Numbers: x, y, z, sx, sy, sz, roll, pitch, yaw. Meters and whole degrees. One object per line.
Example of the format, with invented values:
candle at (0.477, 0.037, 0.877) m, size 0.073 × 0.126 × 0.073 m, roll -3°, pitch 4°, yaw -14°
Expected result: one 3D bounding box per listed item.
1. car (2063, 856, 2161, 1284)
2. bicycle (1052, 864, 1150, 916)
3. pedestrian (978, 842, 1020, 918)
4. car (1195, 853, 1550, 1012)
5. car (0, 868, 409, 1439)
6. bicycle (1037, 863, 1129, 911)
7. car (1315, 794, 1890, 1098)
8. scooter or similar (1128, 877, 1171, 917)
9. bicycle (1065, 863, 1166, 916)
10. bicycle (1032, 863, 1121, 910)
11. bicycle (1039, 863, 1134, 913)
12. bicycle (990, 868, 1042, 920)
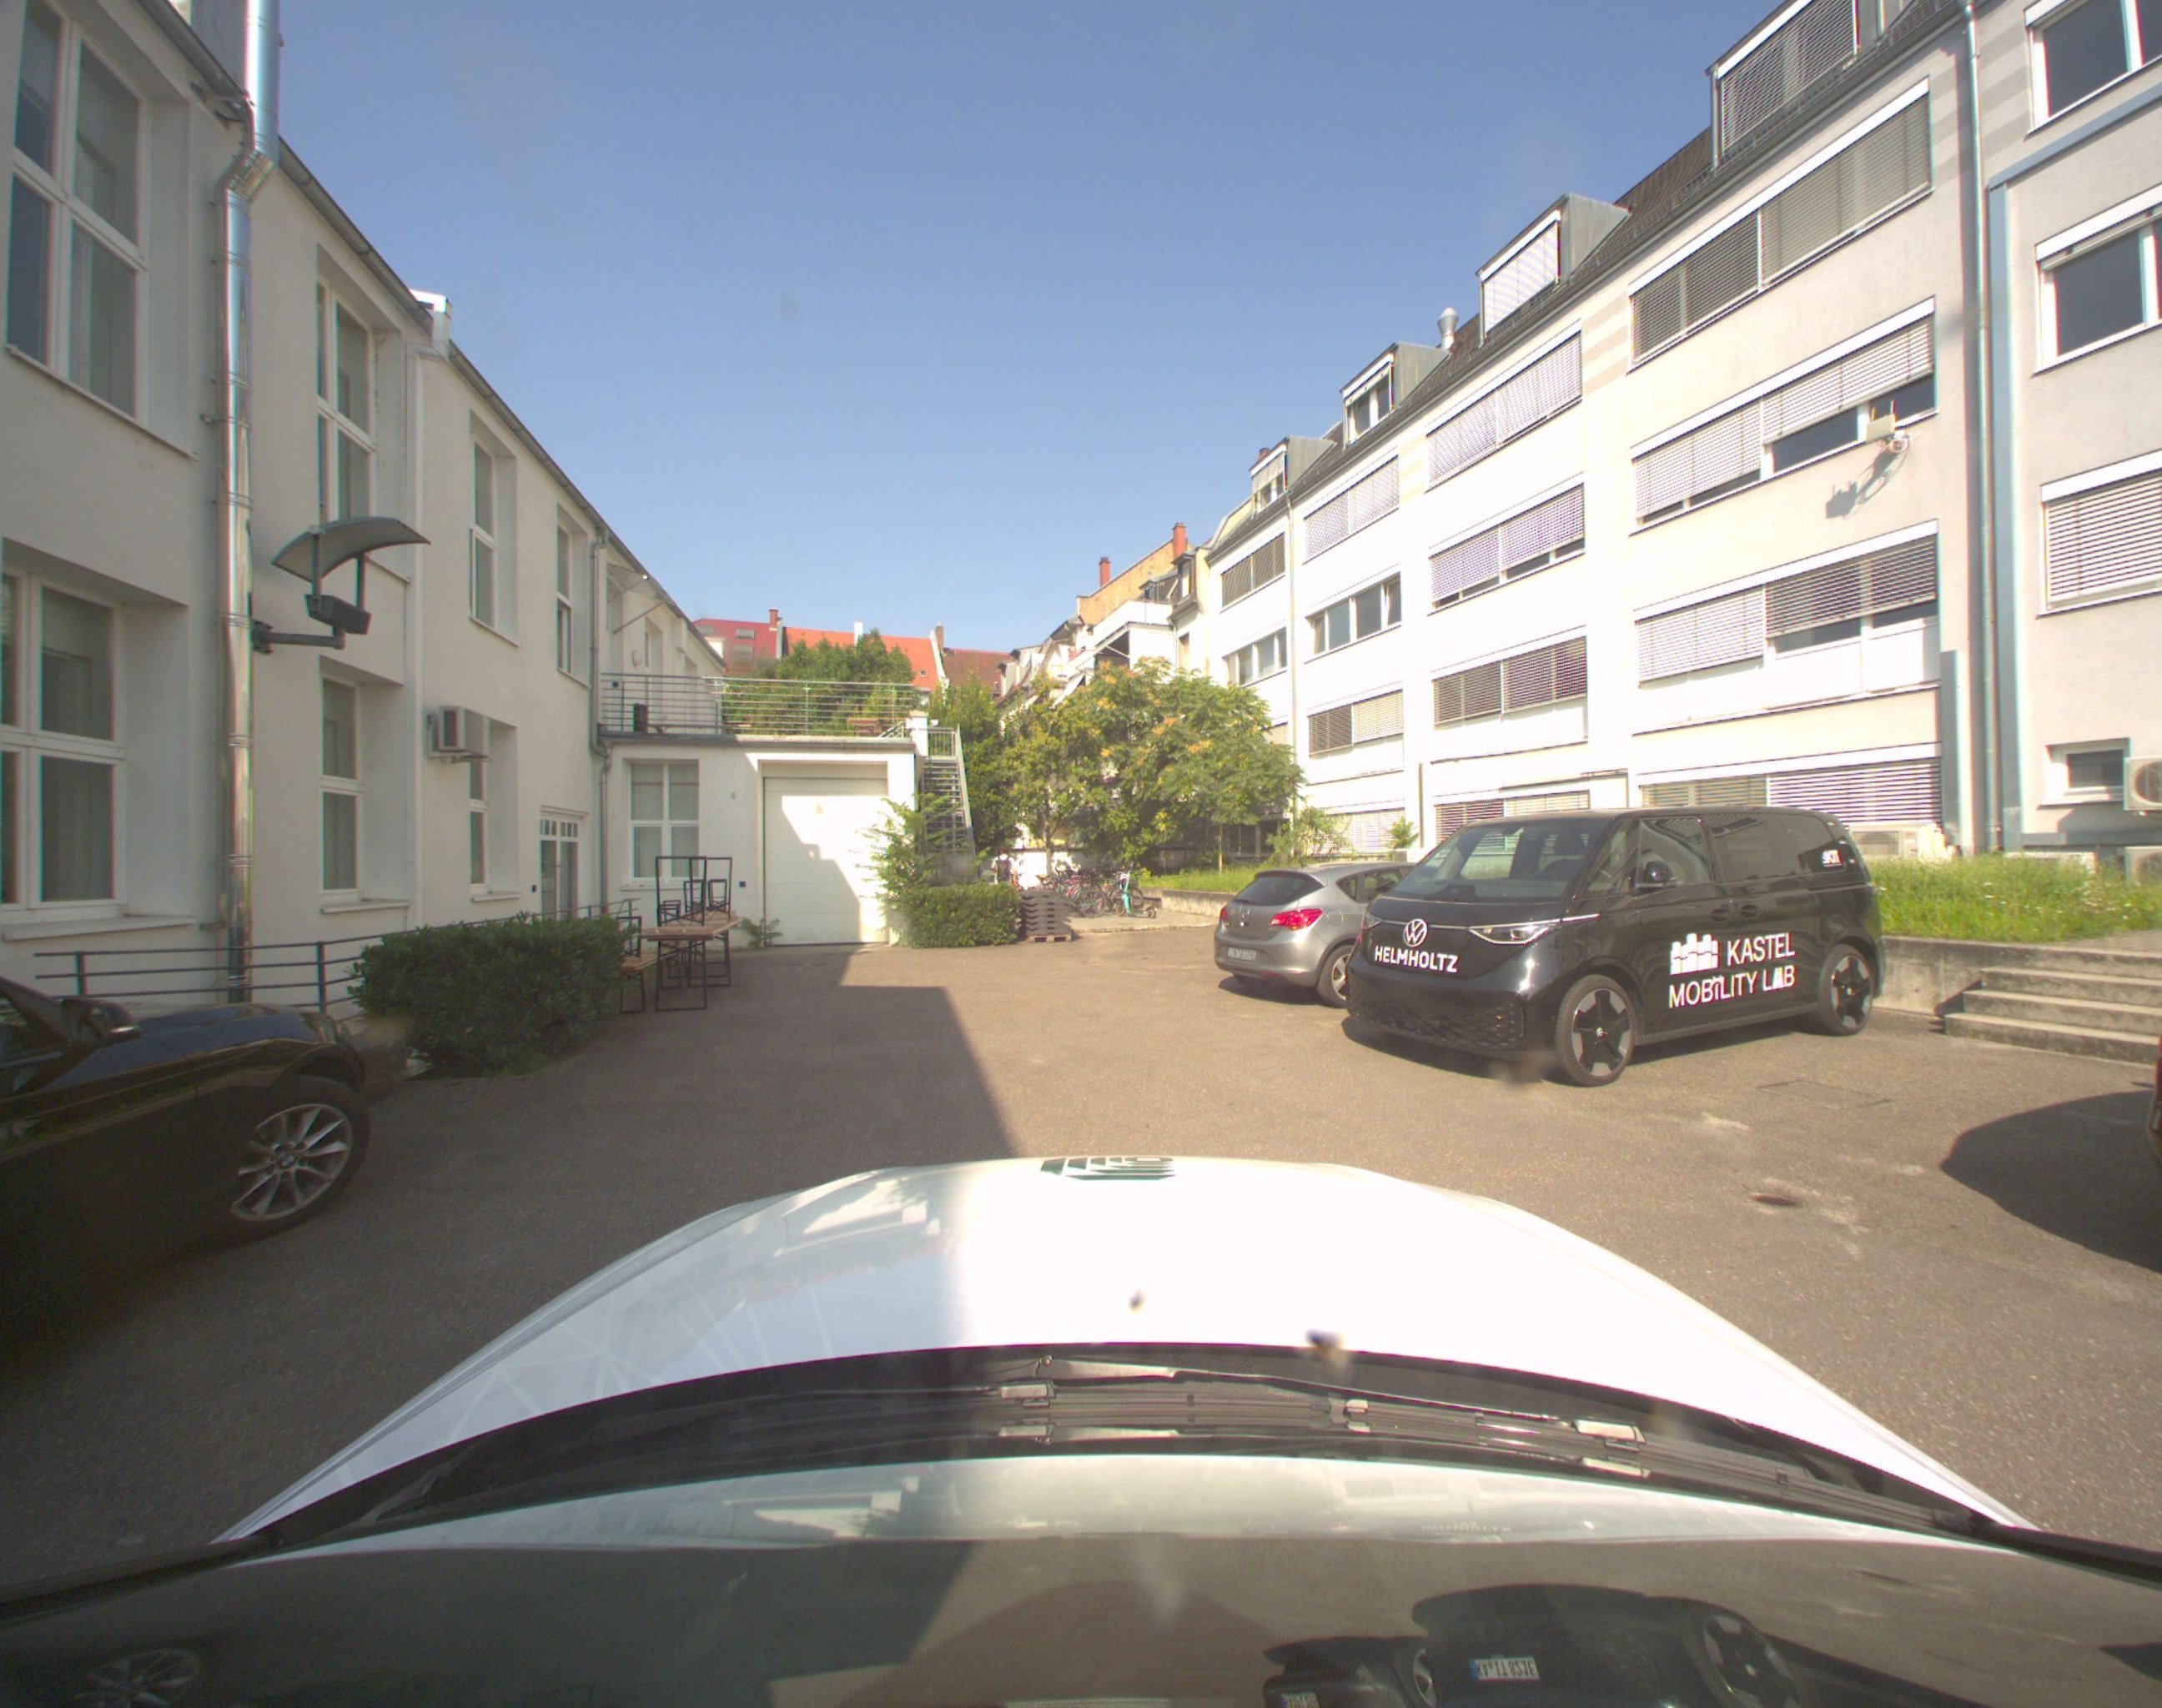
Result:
car at (5.845, 0.698, 2.728) m, size 4.241 × 1.437 × 1.682 m, roll -1°, pitch 0°, yaw -16°
bicycle at (0.512, 0.886, 20.382) m, size 2.414 × 1.246 × 0.524 m, roll 0°, pitch -1°, yaw -14°
pedestrian at (-1.978, 0.615, 19.633) m, size 0.863 × 1.772 × 0.605 m, roll 0°, pitch -1°, yaw -30°
car at (3.418, 0.755, 9.458) m, size 3.918 × 1.466 × 1.648 m, roll -1°, pitch 0°, yaw -27°
car at (-3.567, 0.765, 1.711) m, size 1.796 × 1.428 × 4.113 m, roll 0°, pitch 0°, yaw -16°
bicycle at (0.052, 0.856, 21.718) m, size 2.414 × 1.246 × 0.524 m, roll 0°, pitch -1°, yaw -14°
car at (4.312, 0.531, 6.737) m, size 4.354 × 1.859 × 1.900 m, roll -1°, pitch 0°, yaw -23°
scooter or similar at (1.635, 1.013, 19.421) m, size 0.986 × 0.924 × 0.362 m, roll 0°, pitch -1°, yaw 39°
bicycle at (0.837, 0.853, 19.770) m, size 2.414 × 1.246 × 0.524 m, roll 0°, pitch -1°, yaw -14°
bicycle at (-0.119, 0.880, 22.408) m, size 2.414 × 1.246 × 0.524 m, roll 0°, pitch -1°, yaw -14°
bicycle at (0.147, 0.866, 21.145) m, size 2.414 × 1.246 × 0.524 m, roll 0°, pitch -1°, yaw -14°
bicycle at (-1.587, 0.925, 19.534) m, size 0.491 × 1.143 × 1.976 m, roll -2°, pitch 1°, yaw -27°
